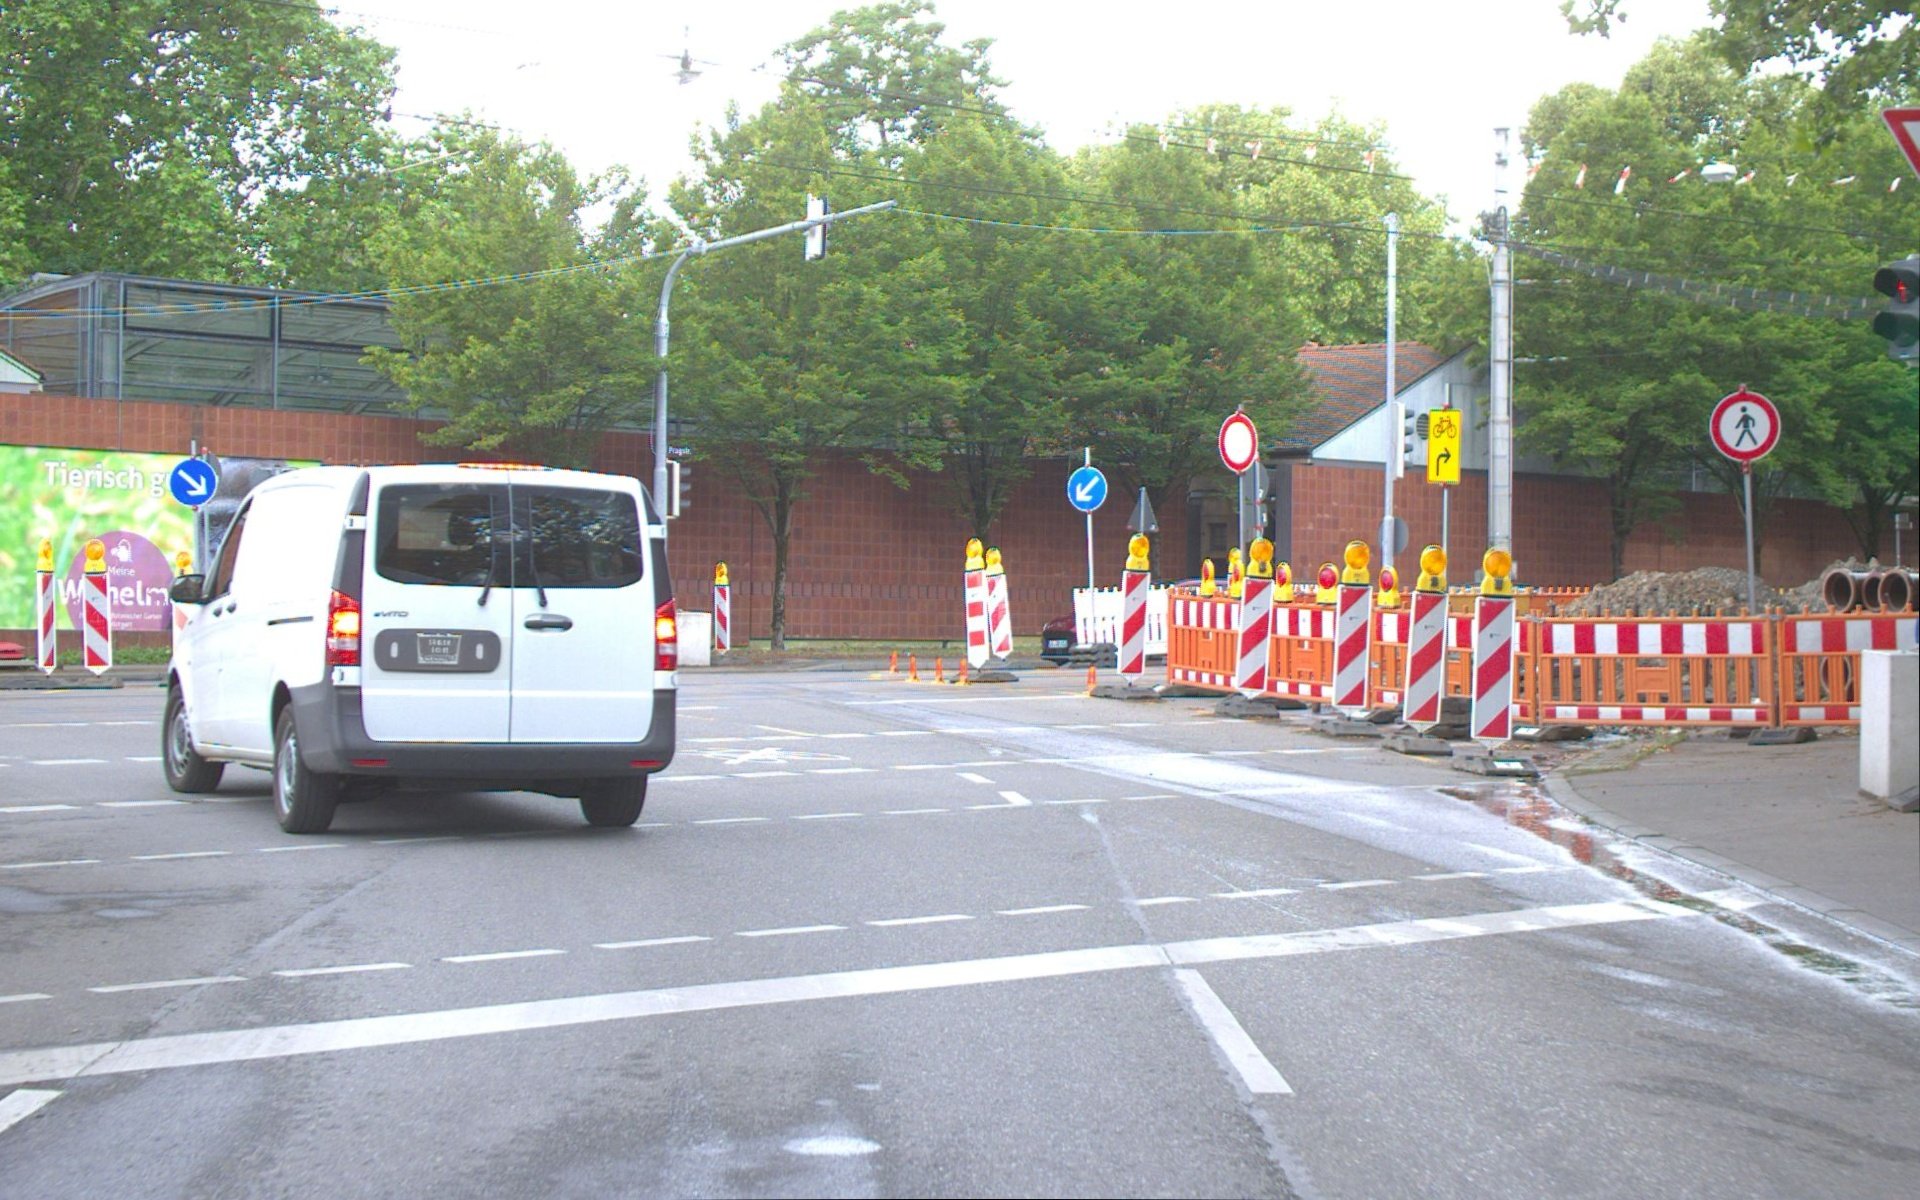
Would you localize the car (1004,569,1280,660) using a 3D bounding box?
[{"bbox_3d":[3.062,0.265,57.379,4.445,1.438,1.879,1,-2,-37],"label":"car"}]

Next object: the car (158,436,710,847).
[{"bbox_3d":[-3.060,0.230,19.038,1.916,1.895,4.702,4,-2,-21],"label":"car"}]
